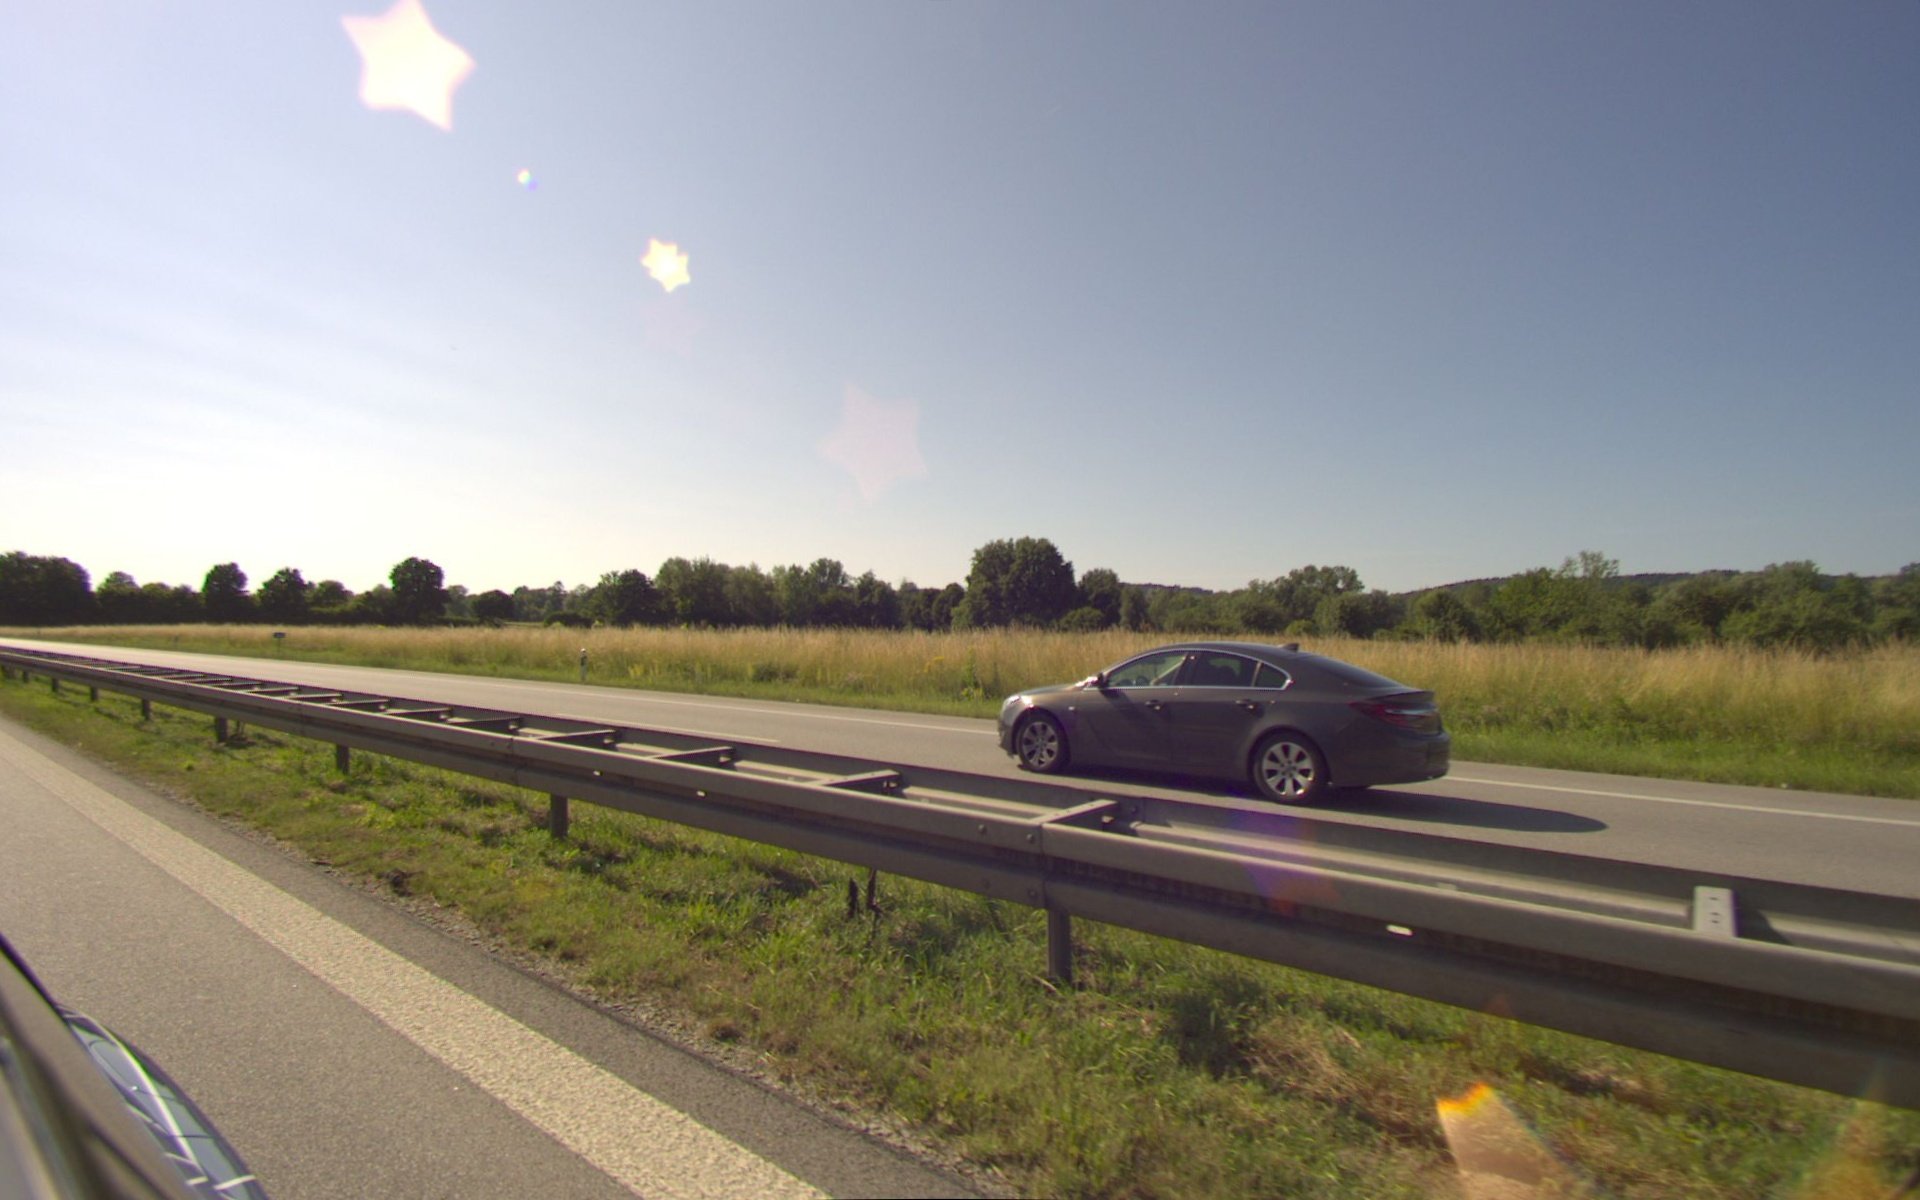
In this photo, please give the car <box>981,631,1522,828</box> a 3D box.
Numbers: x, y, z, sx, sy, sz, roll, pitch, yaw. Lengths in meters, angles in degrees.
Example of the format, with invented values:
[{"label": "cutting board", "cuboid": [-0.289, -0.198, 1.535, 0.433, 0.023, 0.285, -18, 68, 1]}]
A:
[{"label": "car", "cuboid": [2.639, 1.068, 10.076, 4.911, 1.496, 1.751, -1, -3, 41]}]
